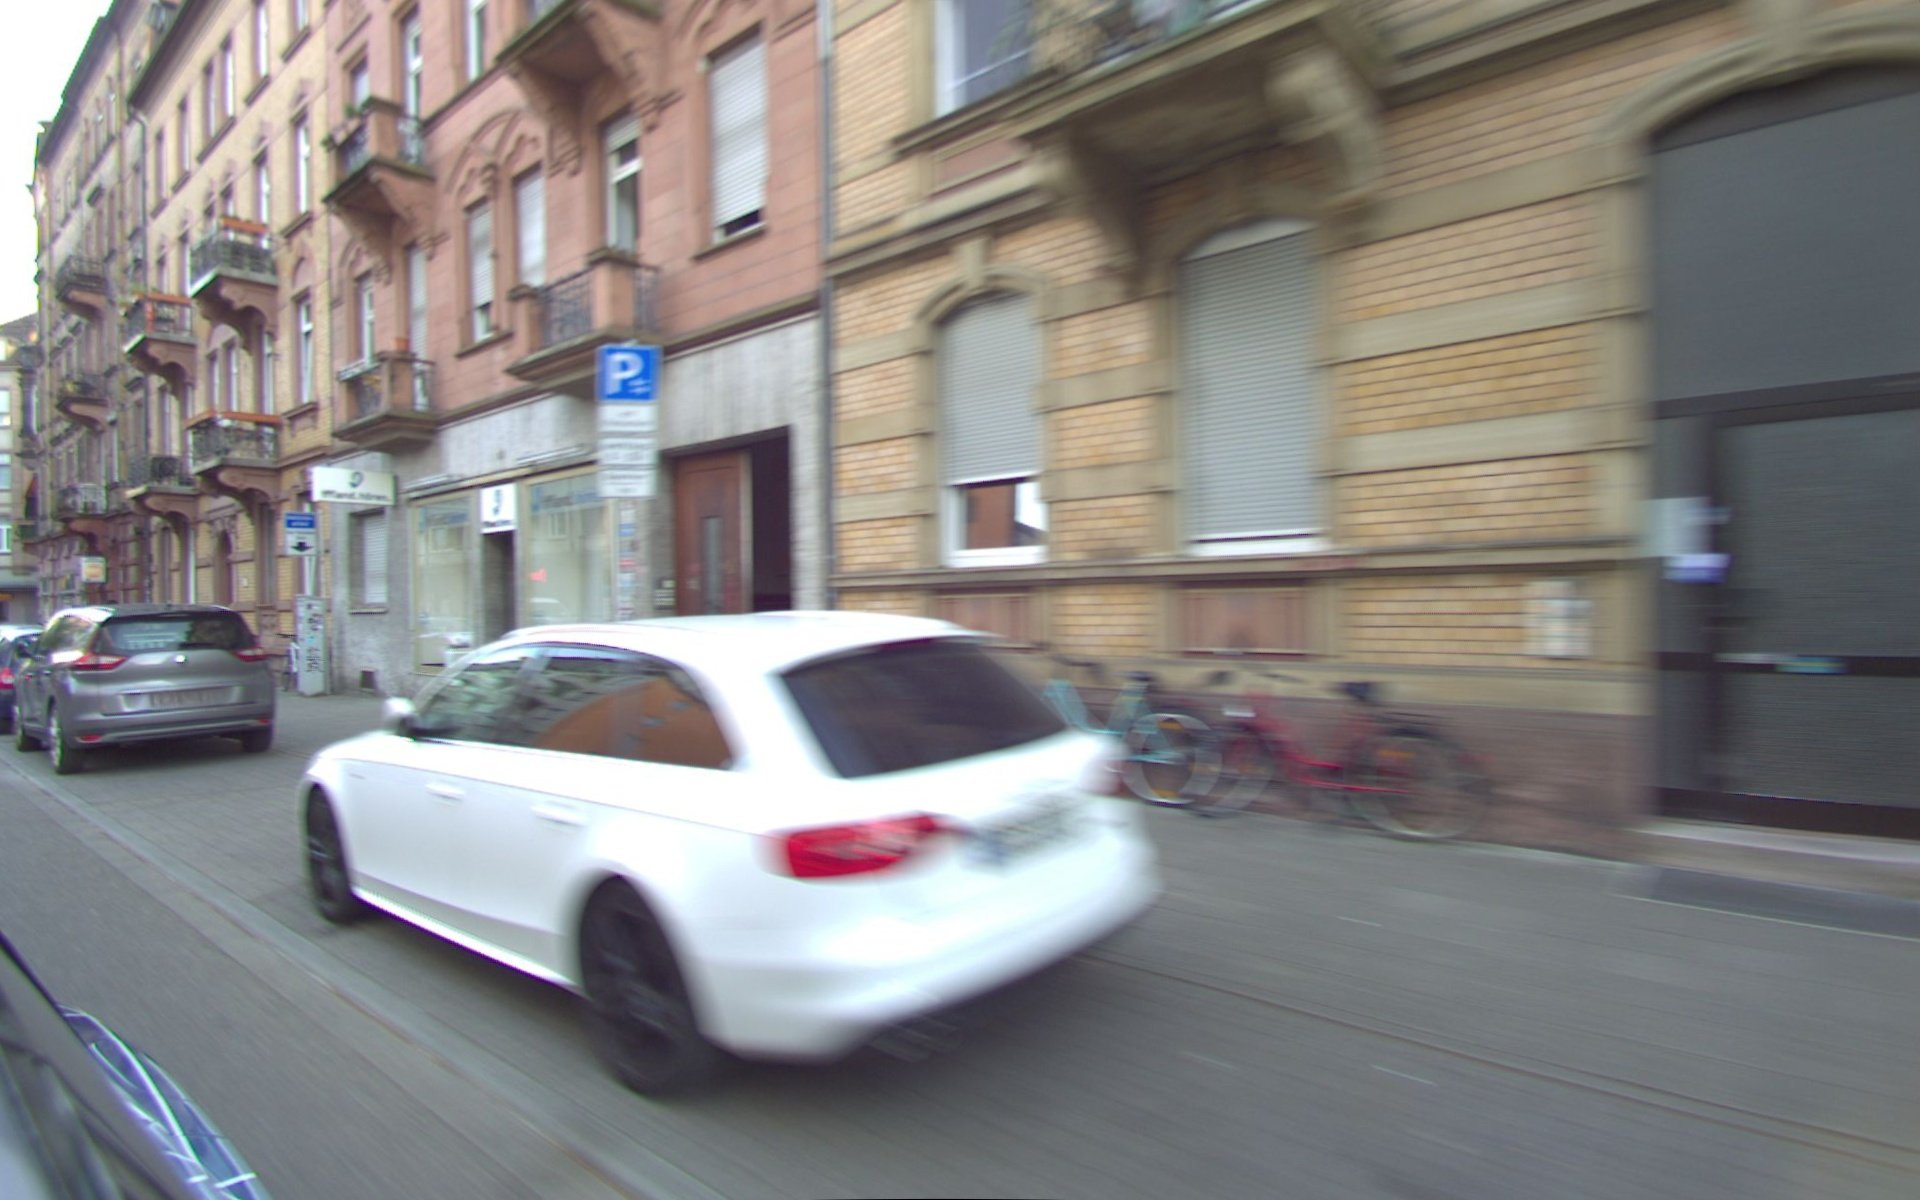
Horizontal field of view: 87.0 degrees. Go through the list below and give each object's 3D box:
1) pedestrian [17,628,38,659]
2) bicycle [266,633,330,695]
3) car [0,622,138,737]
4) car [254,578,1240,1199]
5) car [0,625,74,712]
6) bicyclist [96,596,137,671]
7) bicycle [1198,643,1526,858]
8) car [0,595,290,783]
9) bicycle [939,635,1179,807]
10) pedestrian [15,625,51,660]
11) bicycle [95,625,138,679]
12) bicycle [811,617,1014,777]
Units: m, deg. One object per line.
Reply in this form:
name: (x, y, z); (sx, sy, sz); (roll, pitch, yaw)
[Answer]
pedestrian: (-35.758, 1.667, 38.803); (0.791, 1.152, 0.498); (0, 1, 43)
bicycle: (-12.013, 1.132, 18.350); (1.847, 1.030, 0.444); (-1, 3, 42)
car: (-13.356, 1.088, 14.755); (3.695, 1.431, 1.568); (-2, 0, 42)
car: (-1.311, 0.709, 4.320); (4.506, 1.422, 1.740); (-2, 0, 41)
car: (-17.944, 1.218, 18.739); (4.579, 1.431, 1.705); (-1, 1, 41)
bicyclist: (-20.338, 0.784, 24.418); (0.699, 1.742, 0.845); (-1, 1, -37)
bicycle: (2.241, 0.779, 5.724); (1.619, 1.035, 0.588); (-2, 0, 34)
car: (-9.219, 0.850, 11.241); (4.443, 1.646, 1.834); (-2, 0, 41)
bicycle: (0.656, 0.782, 7.073); (1.623, 1.044, 0.559); (-2, 0, 41)
pedestrian: (-35.008, 1.595, 38.205); (0.903, 1.264, 0.644); (-2, 2, 26)
bicycle: (-20.413, 1.242, 24.517); (0.699, 1.205, 1.745); (-1, 1, -37)
bicycle: (-0.419, 0.725, 8.103); (1.729, 1.140, 0.510); (-2, 0, 41)
